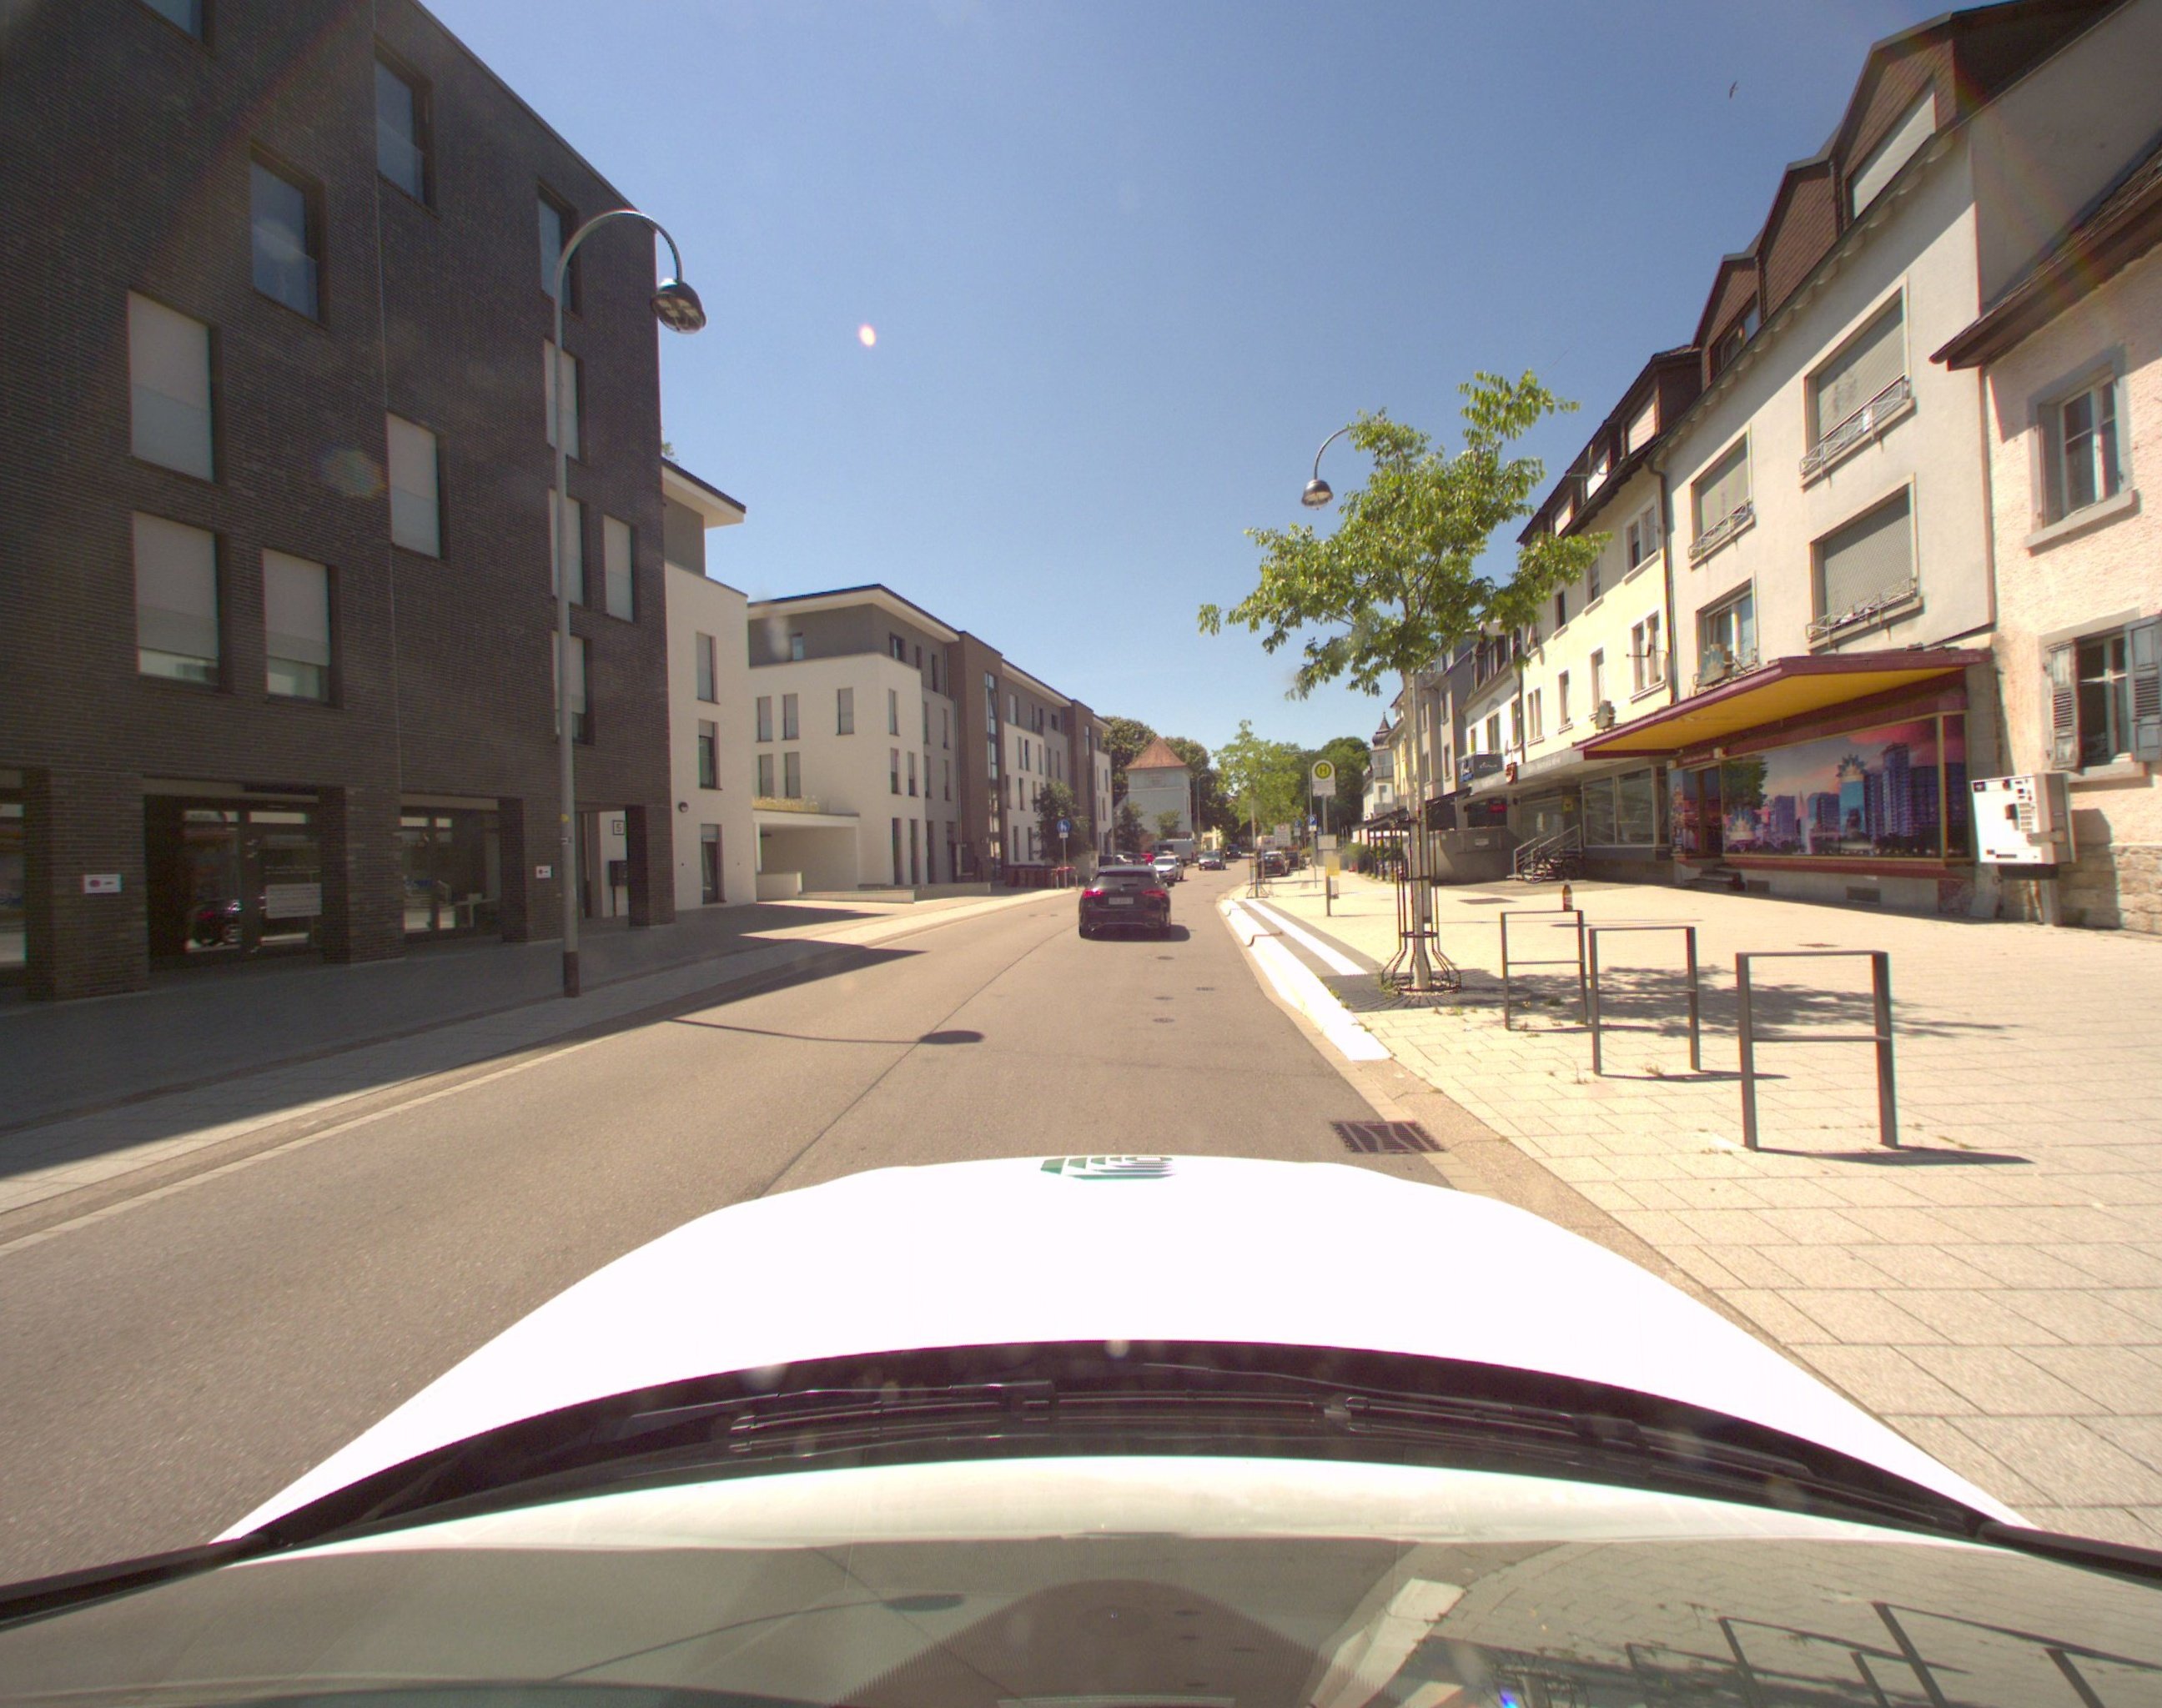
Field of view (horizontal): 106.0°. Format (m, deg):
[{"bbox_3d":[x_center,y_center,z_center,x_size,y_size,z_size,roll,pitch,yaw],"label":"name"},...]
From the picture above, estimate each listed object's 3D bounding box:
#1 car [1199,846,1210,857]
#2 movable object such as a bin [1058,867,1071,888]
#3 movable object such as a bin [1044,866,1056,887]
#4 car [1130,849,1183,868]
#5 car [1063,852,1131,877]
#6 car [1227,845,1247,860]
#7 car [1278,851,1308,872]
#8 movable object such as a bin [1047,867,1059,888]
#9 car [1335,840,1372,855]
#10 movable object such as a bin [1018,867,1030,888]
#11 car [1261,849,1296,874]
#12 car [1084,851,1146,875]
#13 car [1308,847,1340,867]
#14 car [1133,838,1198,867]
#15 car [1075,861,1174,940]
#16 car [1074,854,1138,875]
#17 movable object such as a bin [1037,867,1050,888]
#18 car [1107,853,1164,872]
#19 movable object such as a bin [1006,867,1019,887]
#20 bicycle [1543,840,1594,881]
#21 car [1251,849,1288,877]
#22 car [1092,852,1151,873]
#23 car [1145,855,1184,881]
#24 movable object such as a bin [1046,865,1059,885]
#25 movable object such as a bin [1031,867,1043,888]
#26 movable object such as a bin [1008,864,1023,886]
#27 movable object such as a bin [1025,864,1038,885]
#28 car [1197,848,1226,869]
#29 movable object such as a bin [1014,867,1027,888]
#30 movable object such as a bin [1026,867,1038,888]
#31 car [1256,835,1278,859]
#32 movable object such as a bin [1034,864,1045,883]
[{"bbox_3d":[22.169,-0.403,146.118,1.982,2.014,4.008,0,-1,8],"label":"car"},{"bbox_3d":[-0.808,1.173,40.511,0.479,0.998,0.590,-2,0,14],"label":"movable object such as a bin"},{"bbox_3d":[-1.550,1.117,40.573,0.400,0.998,0.558,-2,0,14],"label":"movable object such as a bin"},{"bbox_3d":[6.713,0.409,72.487,4.420,1.591,2.008,-1,0,15],"label":"car"},{"bbox_3d":[1.064,0.666,53.132,3.957,1.515,2.009,-1,2,16],"label":"car"},{"bbox_3d":[18.878,-0.190,98.559,1.796,1.701,4.096,-1,0,19],"label":"car"},{"bbox_3d":[16.170,0.554,61.910,1.710,1.405,4.632,-3,-1,20],"label":"car"},{"bbox_3d":[-1.376,1.143,39.907,0.480,0.998,0.589,-2,0,8],"label":"movable object such as a bin"},{"bbox_3d":[32.213,-0.799,96.356,4.046,1.716,1.863,-1,0,14],"label":"car"},{"bbox_3d":[-2.828,1.159,40.658,0.400,0.998,0.558,-2,0,14],"label":"movable object such as a bin"},{"bbox_3d":[13.583,0.474,55.803,1.722,1.486,4.075,-4,-1,21],"label":"car"},{"bbox_3d":[2.428,0.605,57.768,4.000,1.651,2.009,-1,0,18],"label":"car"},{"bbox_3d":[21.472,0.244,71.934,1.854,1.491,3.886,-3,1,29],"label":"car"},{"bbox_3d":[8.030,-0.129,76.999,5.723,2.732,2.302,-1,0,16],"label":"car"},{"bbox_3d":[0.980,0.885,17.137,1.819,1.442,4.005,0,0,5],"label":"car"},{"bbox_3d":[1.711,0.700,55.339,3.956,1.421,1.918,0,0,16],"label":"car"},{"bbox_3d":[-1.845,1.146,40.213,0.479,0.998,0.590,-2,0,15],"label":"movable object such as a bin"},{"bbox_3d":[4.242,0.629,63.073,4.000,1.430,2.009,-1,0,18],"label":"car"},{"bbox_3d":[-3.434,1.140,40.866,0.480,0.998,0.589,-2,0,8],"label":"movable object such as a bin"},{"bbox_3d":[14.601,0.198,24.425,1.258,1.184,0.417,0,-1,23],"label":"bicycle"},{"bbox_3d":[11.548,0.544,49.847,1.818,1.482,4.114,-4,-1,17],"label":"car"},{"bbox_3d":[3.010,0.640,60.536,4.000,1.496,2.009,-1,0,18],"label":"car"},{"bbox_3d":[4.922,0.800,47.373,1.655,1.396,3.863,-1,0,15],"label":"car"},{"bbox_3d":[-1.484,1.095,43.015,0.550,1.020,0.562,-2,0,11],"label":"movable object such as a bin"},{"bbox_3d":[-2.208,1.161,40.738,0.400,0.998,0.558,-2,0,14],"label":"movable object such as a bin"},{"bbox_3d":[-3.418,1.075,42.421,0.690,1.095,0.647,-2,0,-2],"label":"movable object such as a bin"},{"bbox_3d":[-2.620,1.084,43.207,0.673,1.039,0.604,-2,0,-2],"label":"movable object such as a bin"},{"bbox_3d":[10.822,0.337,67.353,1.928,1.658,4.253,-1,0,15],"label":"car"},{"bbox_3d":[-2.976,1.152,40.096,0.479,0.998,0.528,-2,0,13],"label":"movable object such as a bin"},{"bbox_3d":[-2.406,1.150,40.207,0.421,0.998,0.526,-2,0,15],"label":"movable object such as a bin"},{"bbox_3d":[21.800,-0.801,95.602,2.114,2.629,5.292,-2,0,9],"label":"car"},{"bbox_3d":[-2.221,1.047,43.836,0.574,1.039,0.550,-2,0,-2],"label":"movable object such as a bin"}]
